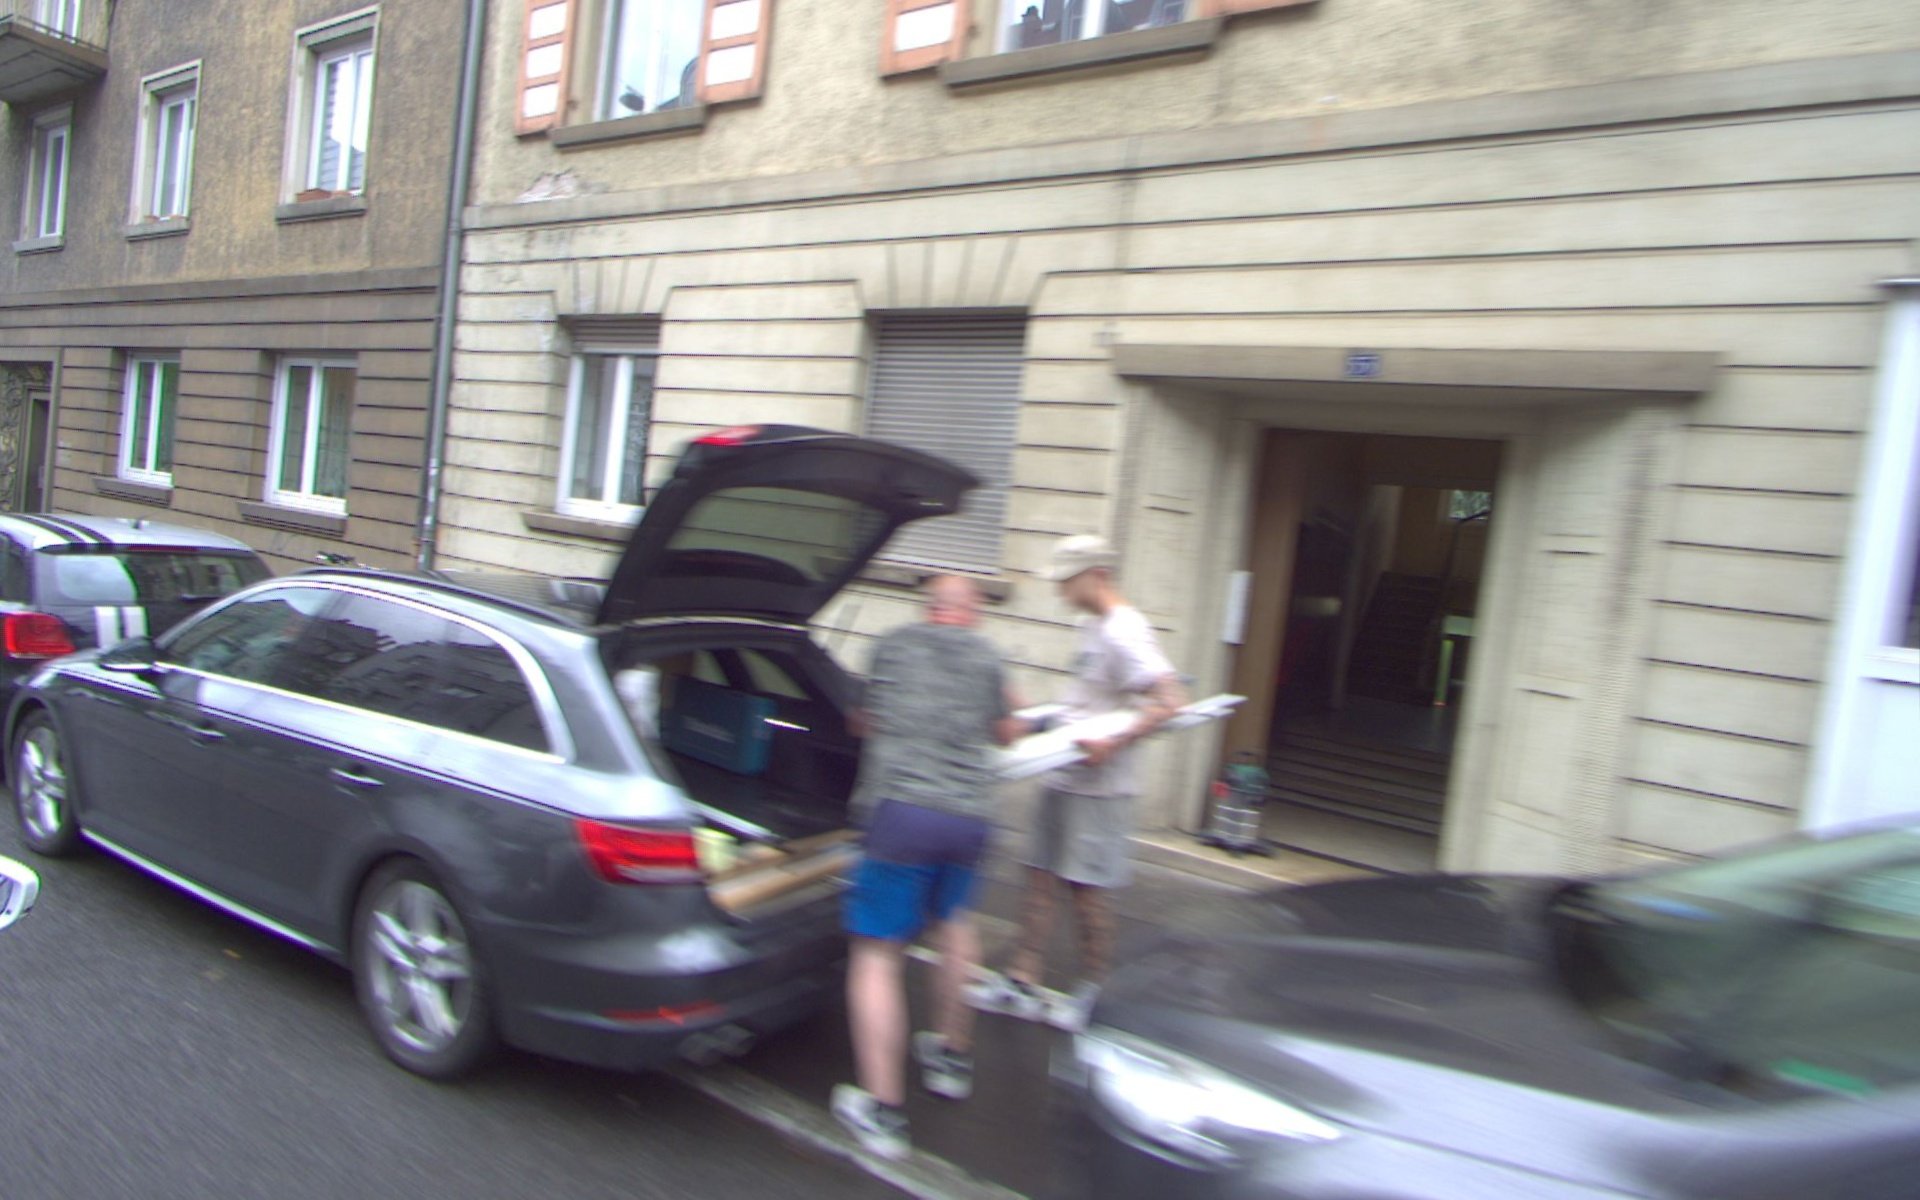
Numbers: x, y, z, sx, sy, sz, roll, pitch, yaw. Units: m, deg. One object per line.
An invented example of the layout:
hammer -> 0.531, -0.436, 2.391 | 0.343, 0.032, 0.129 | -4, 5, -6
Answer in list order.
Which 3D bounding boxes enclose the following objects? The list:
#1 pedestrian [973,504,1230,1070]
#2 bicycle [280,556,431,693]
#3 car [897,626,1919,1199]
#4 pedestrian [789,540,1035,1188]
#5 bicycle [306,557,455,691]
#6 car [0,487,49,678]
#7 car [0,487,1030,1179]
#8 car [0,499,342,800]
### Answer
pedestrian -> 0.469, 0.611, 3.625 | 0.700, 1.811, 0.686 | 4, 3, 2
bicycle -> -5.693, 0.192, 9.416 | 2.071, 1.088, 0.247 | 5, 3, 31
car -> 2.128, 1.002, 1.578 | 4.117, 1.498, 1.780 | 6, 1, 28
pedestrian -> -0.124, 0.697, 2.950 | 0.620, 1.716, 0.634 | 1, 6, 3
bicycle -> -5.589, 0.195, 9.644 | 2.071, 1.088, 0.247 | 5, 3, 31
car -> -10.429, -0.400, 9.276 | 4.123, 1.657, 1.636 | 6, -2, 29
car -> -2.174, 0.451, 4.232 | 4.511, 1.498, 1.779 | 6, 1, 31
car -> -5.997, 0.160, 6.565 | 3.671, 1.495, 1.636 | 6, -2, 29
